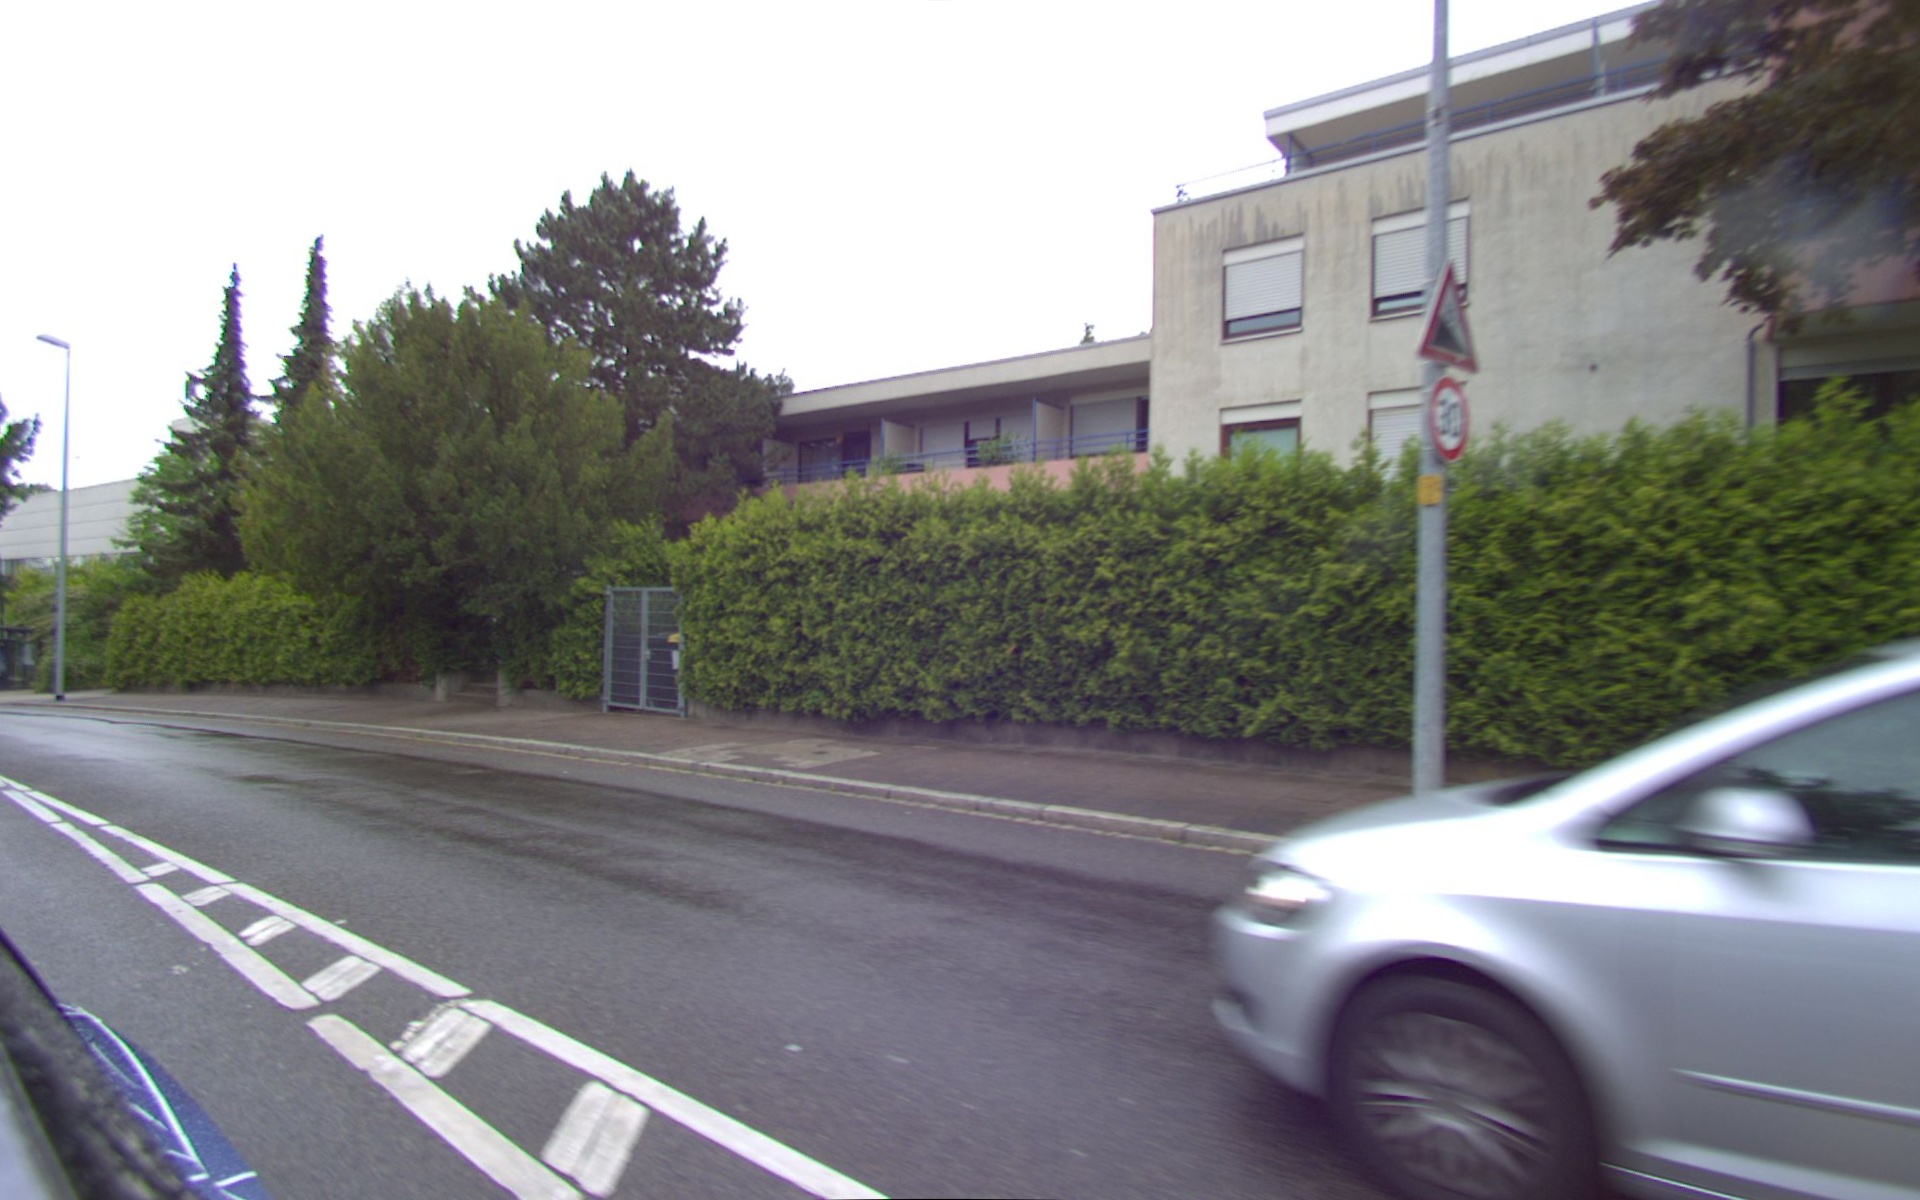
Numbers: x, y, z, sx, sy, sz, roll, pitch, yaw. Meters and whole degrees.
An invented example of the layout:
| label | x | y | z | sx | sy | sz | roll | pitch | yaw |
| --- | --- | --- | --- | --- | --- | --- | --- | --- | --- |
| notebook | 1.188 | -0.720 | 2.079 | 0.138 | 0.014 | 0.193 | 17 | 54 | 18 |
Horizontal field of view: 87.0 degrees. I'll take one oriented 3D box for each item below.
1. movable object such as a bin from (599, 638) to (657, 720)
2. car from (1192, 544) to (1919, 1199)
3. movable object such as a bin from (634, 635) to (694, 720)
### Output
| label | x | y | z | sx | sy | sz | roll | pitch | yaw |
| --- | --- | --- | --- | --- | --- | --- | --- | --- | --- |
| movable object such as a bin | -5.640 | 1.341 | 17.202 | 0.804 | 1.336 | 0.542 | -3 | -2 | 37 |
| car | 2.737 | 0.732 | 2.234 | 4.054 | 1.592 | 1.618 | -2 | -5 | 40 |
| movable object such as a bin | -4.849 | 1.253 | 16.579 | 0.804 | 1.336 | 0.542 | -3 | -2 | 37 |
